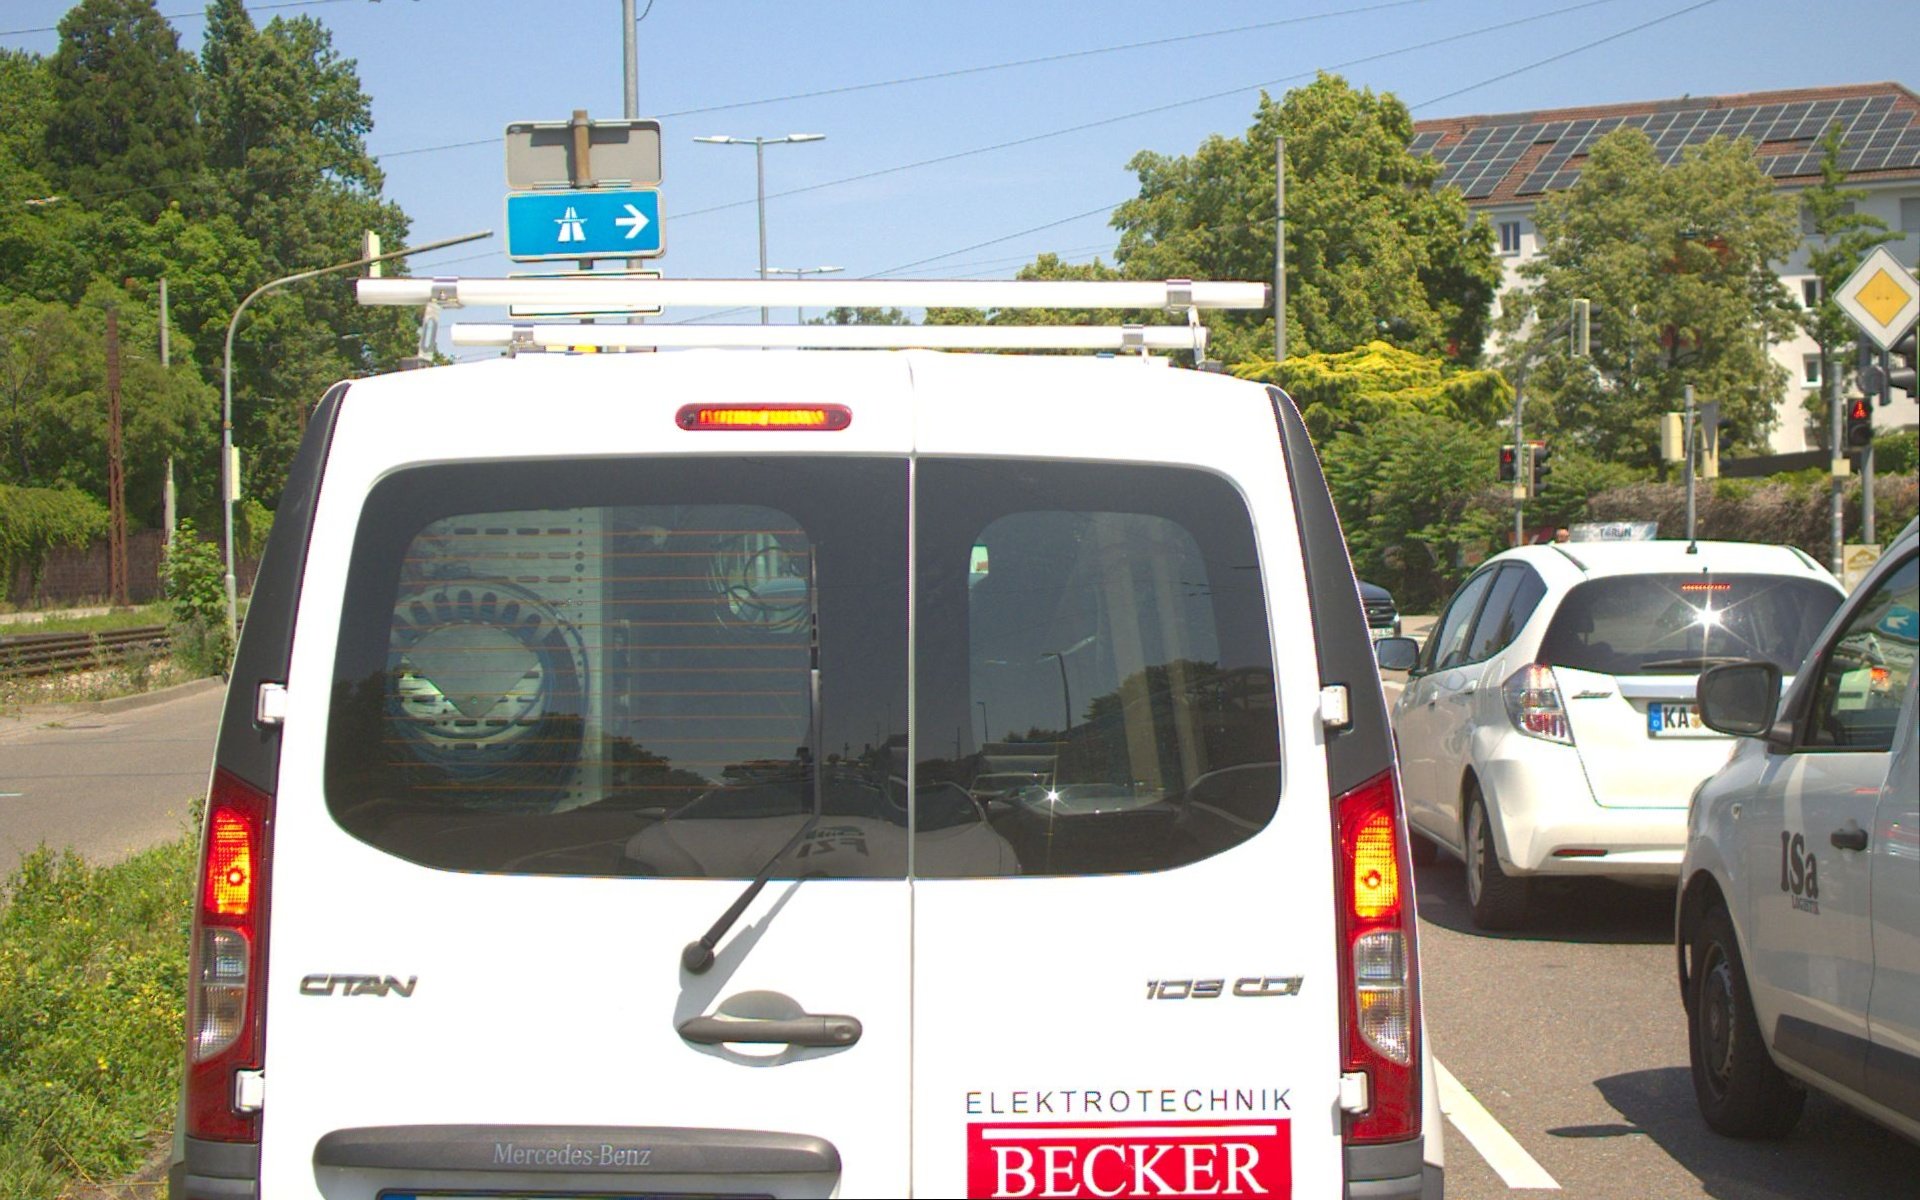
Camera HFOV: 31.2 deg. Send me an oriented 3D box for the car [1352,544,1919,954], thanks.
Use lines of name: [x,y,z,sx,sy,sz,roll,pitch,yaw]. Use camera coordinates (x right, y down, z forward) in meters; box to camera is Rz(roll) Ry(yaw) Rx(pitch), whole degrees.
car: [2.801,0.517,14.638,1.756,1.481,4.000,1,1,-1]

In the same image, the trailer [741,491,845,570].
trailer: [-8.873,-3.644,181.737,3.527,4.037,8.980,-1,1,-16]

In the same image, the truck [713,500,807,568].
truck: [-11.108,-3.647,190.339,3.575,3.620,8.811,-1,1,-14]

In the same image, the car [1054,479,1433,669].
car: [3.123,-0.308,38.457,1.994,2.007,3.999,-1,1,-40]

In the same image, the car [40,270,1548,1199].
car: [-0.252,0.483,6.211,1.866,1.829,3.849,1,1,-1]

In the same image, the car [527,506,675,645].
car: [-5.488,-0.392,52.230,1.993,2.007,4.001,-1,1,-9]

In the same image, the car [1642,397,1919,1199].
car: [2.757,0.505,7.230,1.710,1.824,4.014,0,1,-2]
